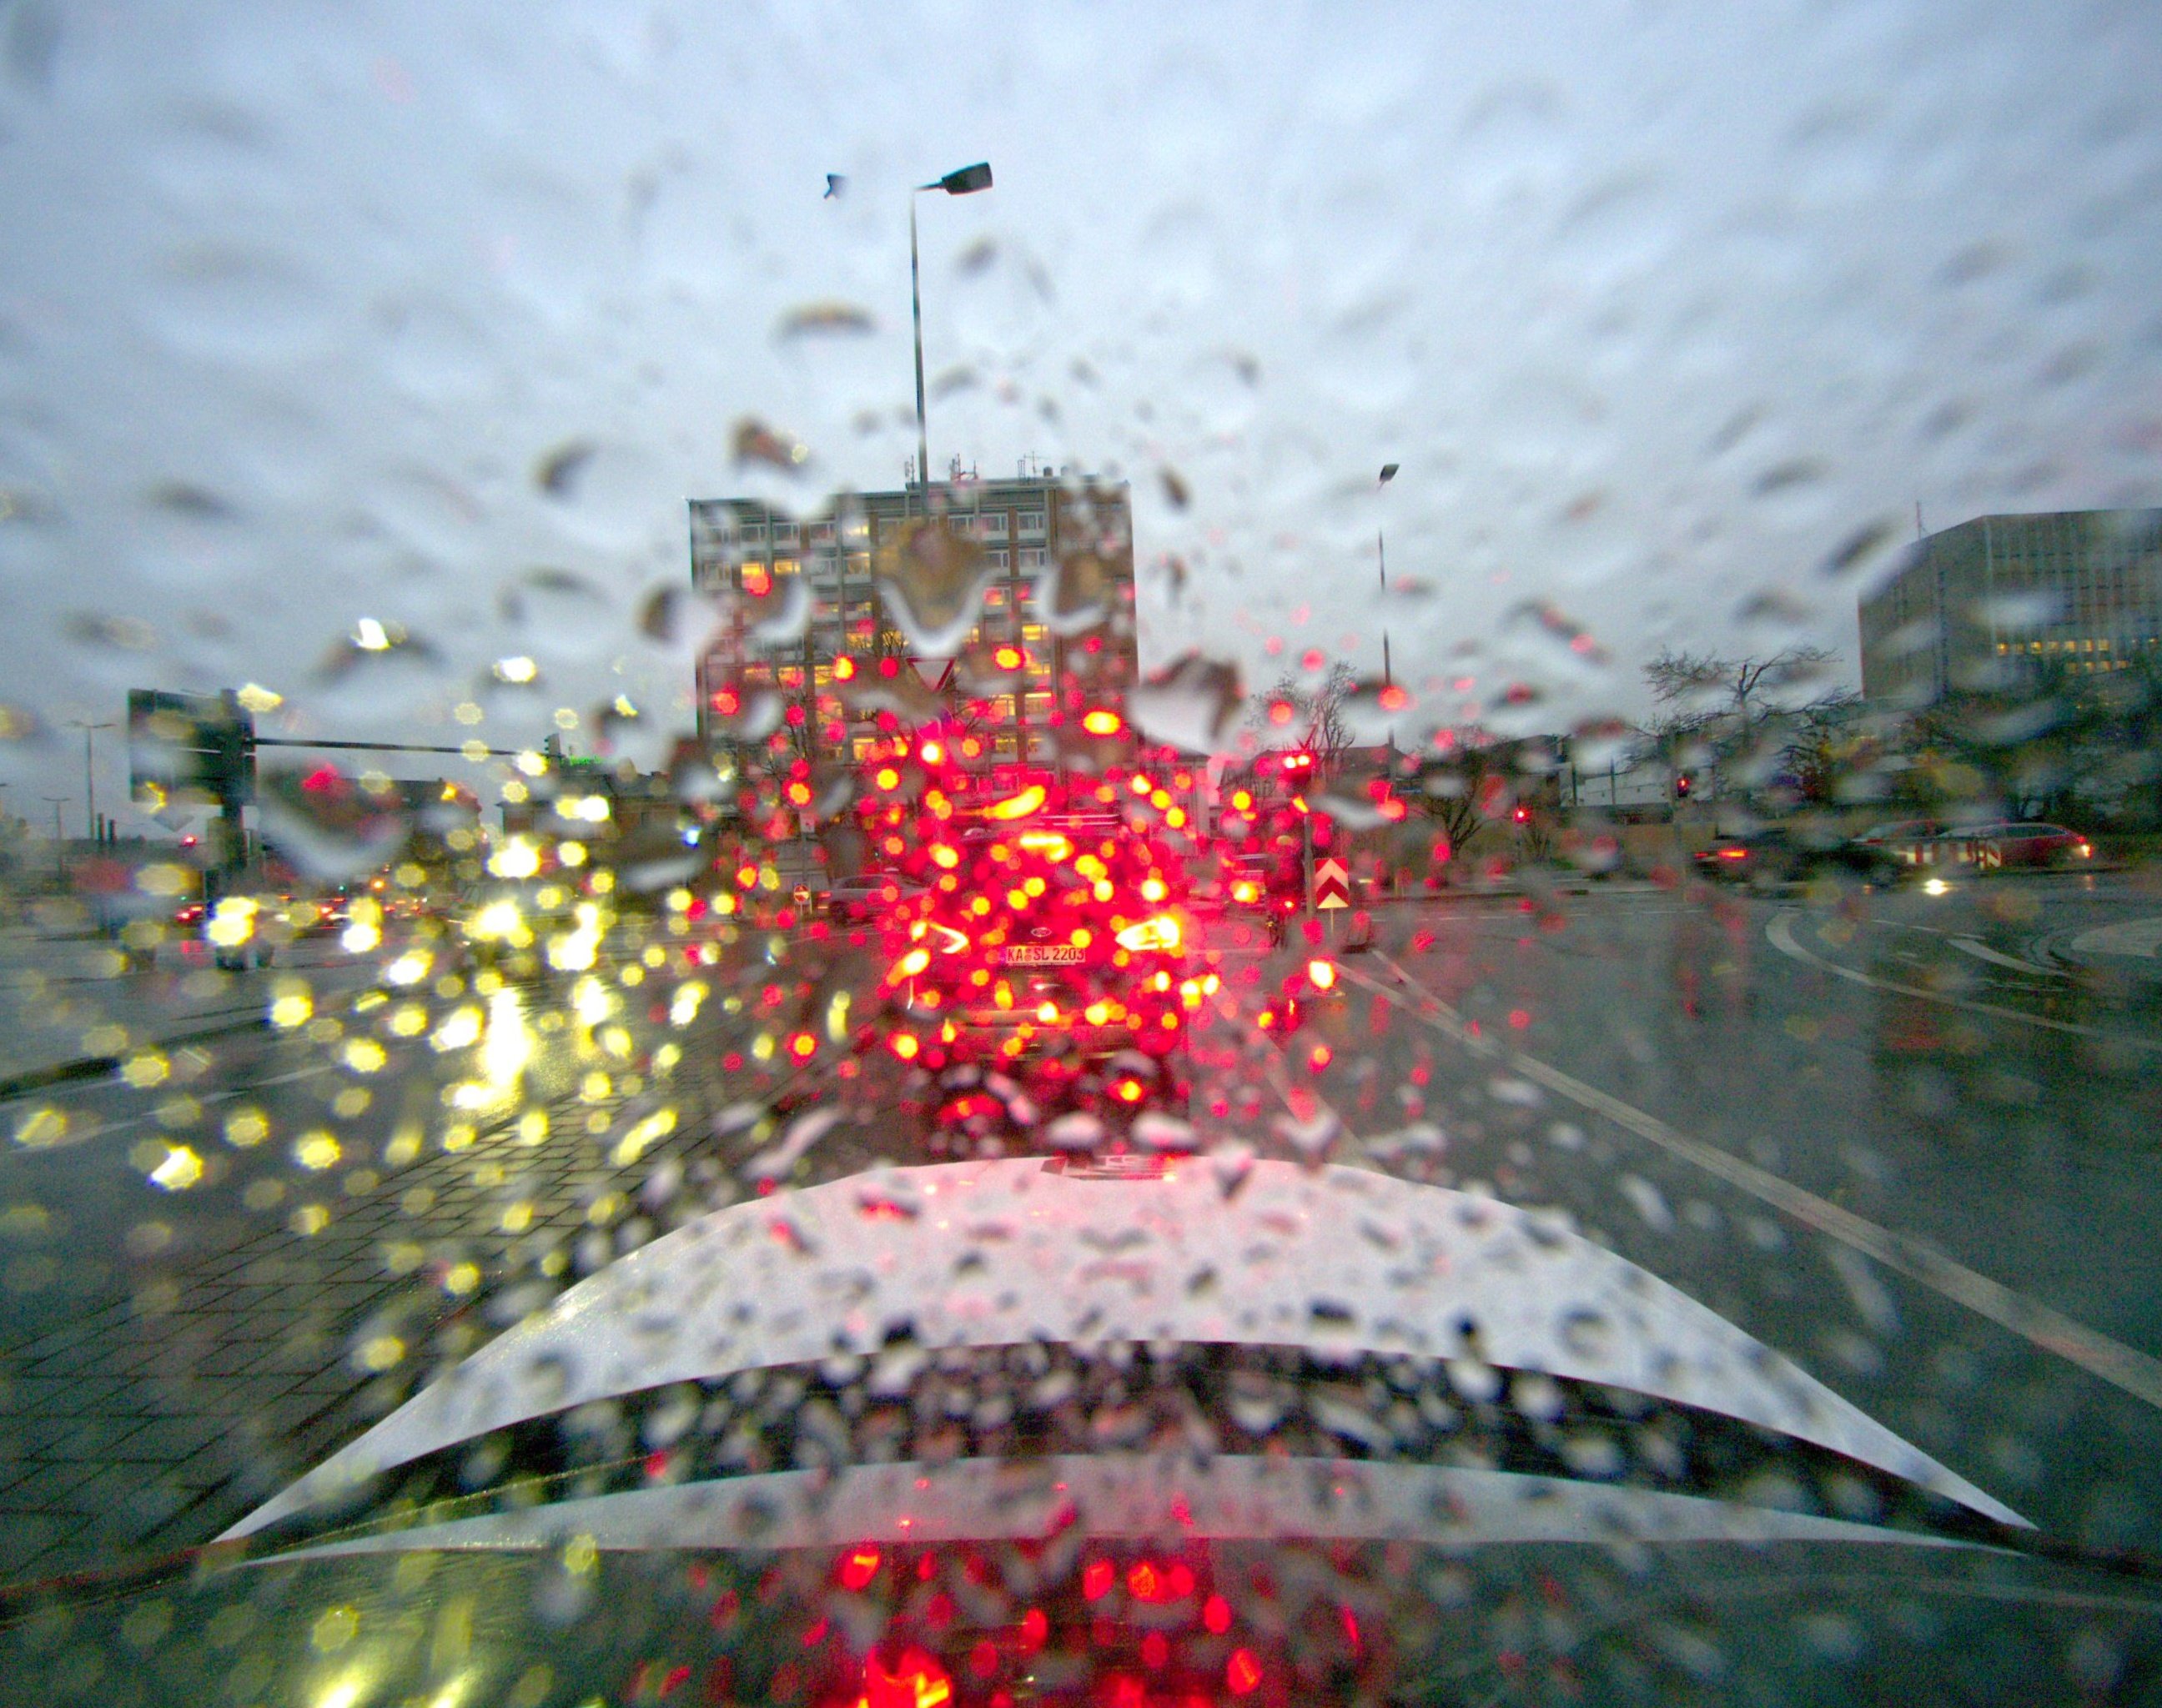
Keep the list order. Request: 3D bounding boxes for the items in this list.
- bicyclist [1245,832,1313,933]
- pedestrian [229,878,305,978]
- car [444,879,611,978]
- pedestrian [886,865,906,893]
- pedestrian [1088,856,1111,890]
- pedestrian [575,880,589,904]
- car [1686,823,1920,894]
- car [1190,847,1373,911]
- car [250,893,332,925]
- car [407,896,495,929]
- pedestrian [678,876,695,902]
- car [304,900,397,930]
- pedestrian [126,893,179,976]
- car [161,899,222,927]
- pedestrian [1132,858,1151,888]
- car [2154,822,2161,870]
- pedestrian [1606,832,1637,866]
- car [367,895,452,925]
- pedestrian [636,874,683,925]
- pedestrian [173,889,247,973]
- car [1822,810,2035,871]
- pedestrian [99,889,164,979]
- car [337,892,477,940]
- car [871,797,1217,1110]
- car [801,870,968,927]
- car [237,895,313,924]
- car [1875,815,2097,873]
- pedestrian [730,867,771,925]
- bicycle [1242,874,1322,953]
[{"bbox_3d":[2.995,0.419,12.406,0.780,1.453,1.134,0,-1,2],"label":"bicyclist"},{"bbox_3d":[-17.413,1.551,17.439,0.996,2.021,0.792,-3,0,-39],"label":"pedestrian"},{"bbox_3d":[-10.906,1.382,15.954,3.949,1.577,1.786,-3,0,43],"label":"car"},{"bbox_3d":[-10.993,1.482,48.387,0.753,1.628,0.725,-3,0,22],"label":"pedestrian"},{"bbox_3d":[1.035,1.039,45.324,0.990,1.799,0.922,-3,0,11],"label":"pedestrian"},{"bbox_3d":[-36.033,2.767,58.793,0.633,1.688,0.641,-3,0,42],"label":"pedestrian"},{"bbox_3d":[17.754,0.125,20.226,3.930,1.477,1.816,-3,-1,10],"label":"car"},{"bbox_3d":[5.433,0.690,22.416,4.625,1.477,1.817,-3,-1,12],"label":"car"},{"bbox_3d":[-51.148,3.530,52.778,1.649,1.826,3.609,-1,-1,39],"label":"car"},{"bbox_3d":[-33.318,3.054,43.082,3.954,1.568,1.836,-1,-1,20],"label":"car"},{"bbox_3d":[-26.501,2.350,54.762,0.754,1.628,0.560,-3,0,16],"label":"pedestrian"},{"bbox_3d":[-43.788,3.620,48.911,1.582,1.482,3.840,-1,-1,31],"label":"car"},{"bbox_3d":[-20.624,1.778,18.085,0.733,1.770,0.551,-3,0,27],"label":"pedestrian"},{"bbox_3d":[-56.039,3.704,51.288,3.948,1.568,1.838,-1,-1,31],"label":"car"},{"bbox_3d":[3.284,1.005,44.137,0.920,1.533,1.045,-3,0,6],"label":"pedestrian"},{"bbox_3d":[35.386,-0.353,24.111,4.390,1.477,1.814,-3,-1,6],"label":"car"},{"bbox_3d":[26.863,-0.237,40.499,0.956,1.603,0.796,-3,0,9],"label":"pedestrian"},{"bbox_3d":[-38.392,3.174,46.625,1.496,1.461,3.453,-1,-1,31],"label":"car"},{"bbox_3d":[-16.331,1.750,31.539,0.991,1.842,1.146,-3,2,36],"label":"pedestrian"},{"bbox_3d":[-19.468,1.707,18.220,0.653,1.755,0.856,-3,0,18],"label":"pedestrian"},{"bbox_3d":[30.650,-0.462,29.610,5.295,1.880,2.051,-3,-1,4],"label":"car"},{"bbox_3d":[-20.388,1.713,17.498,0.726,1.838,0.680,-3,0,26],"label":"pedestrian"},{"bbox_3d":[-24.475,2.255,29.576,4.616,1.477,1.820,-3,-1,20],"label":"car"},{"bbox_3d":[-0.154,0.588,6.692,1.986,1.789,4.001,0,-1,2],"label":"car"},{"bbox_3d":[-6.018,1.363,25.100,4.624,1.477,1.817,-3,-1,12],"label":"car"},{"bbox_3d":[-53.084,3.614,53.670,1.505,1.702,3.411,-1,-1,39],"label":"car"},{"bbox_3d":[27.513,-0.265,24.899,4.390,1.477,1.814,-3,-1,6],"label":"car"},{"bbox_3d":[-12.018,1.517,29.670,0.922,1.978,0.962,-3,0,8],"label":"pedestrian"},{"bbox_3d":[3.019,0.862,12.411,0.780,1.075,1.958,0,-1,2],"label":"bicycle"}]
